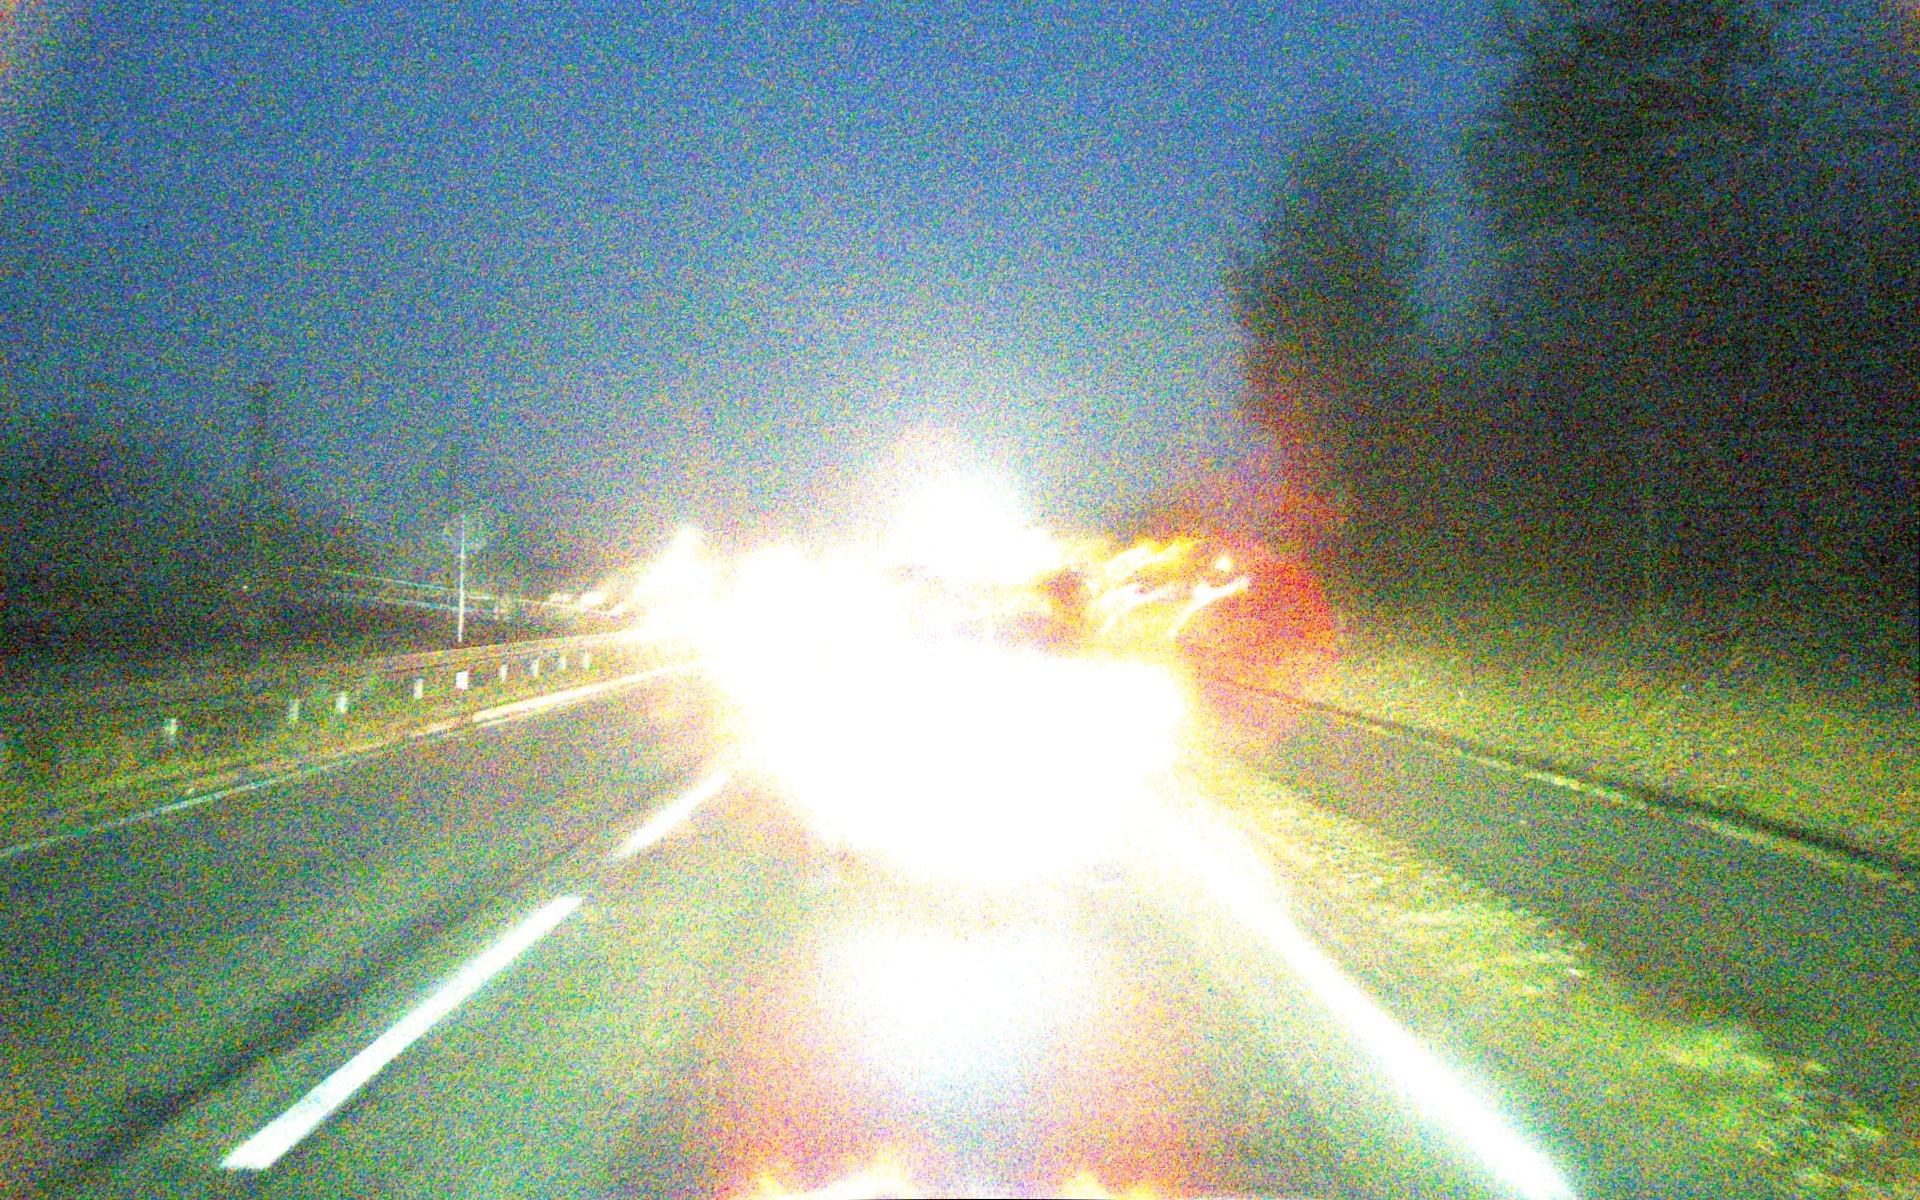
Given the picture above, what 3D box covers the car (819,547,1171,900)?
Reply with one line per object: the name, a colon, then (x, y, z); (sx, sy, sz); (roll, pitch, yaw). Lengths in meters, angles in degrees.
car: (0.171, 0.635, 10.231); (1.739, 1.742, 3.999); (0, -1, 0)
